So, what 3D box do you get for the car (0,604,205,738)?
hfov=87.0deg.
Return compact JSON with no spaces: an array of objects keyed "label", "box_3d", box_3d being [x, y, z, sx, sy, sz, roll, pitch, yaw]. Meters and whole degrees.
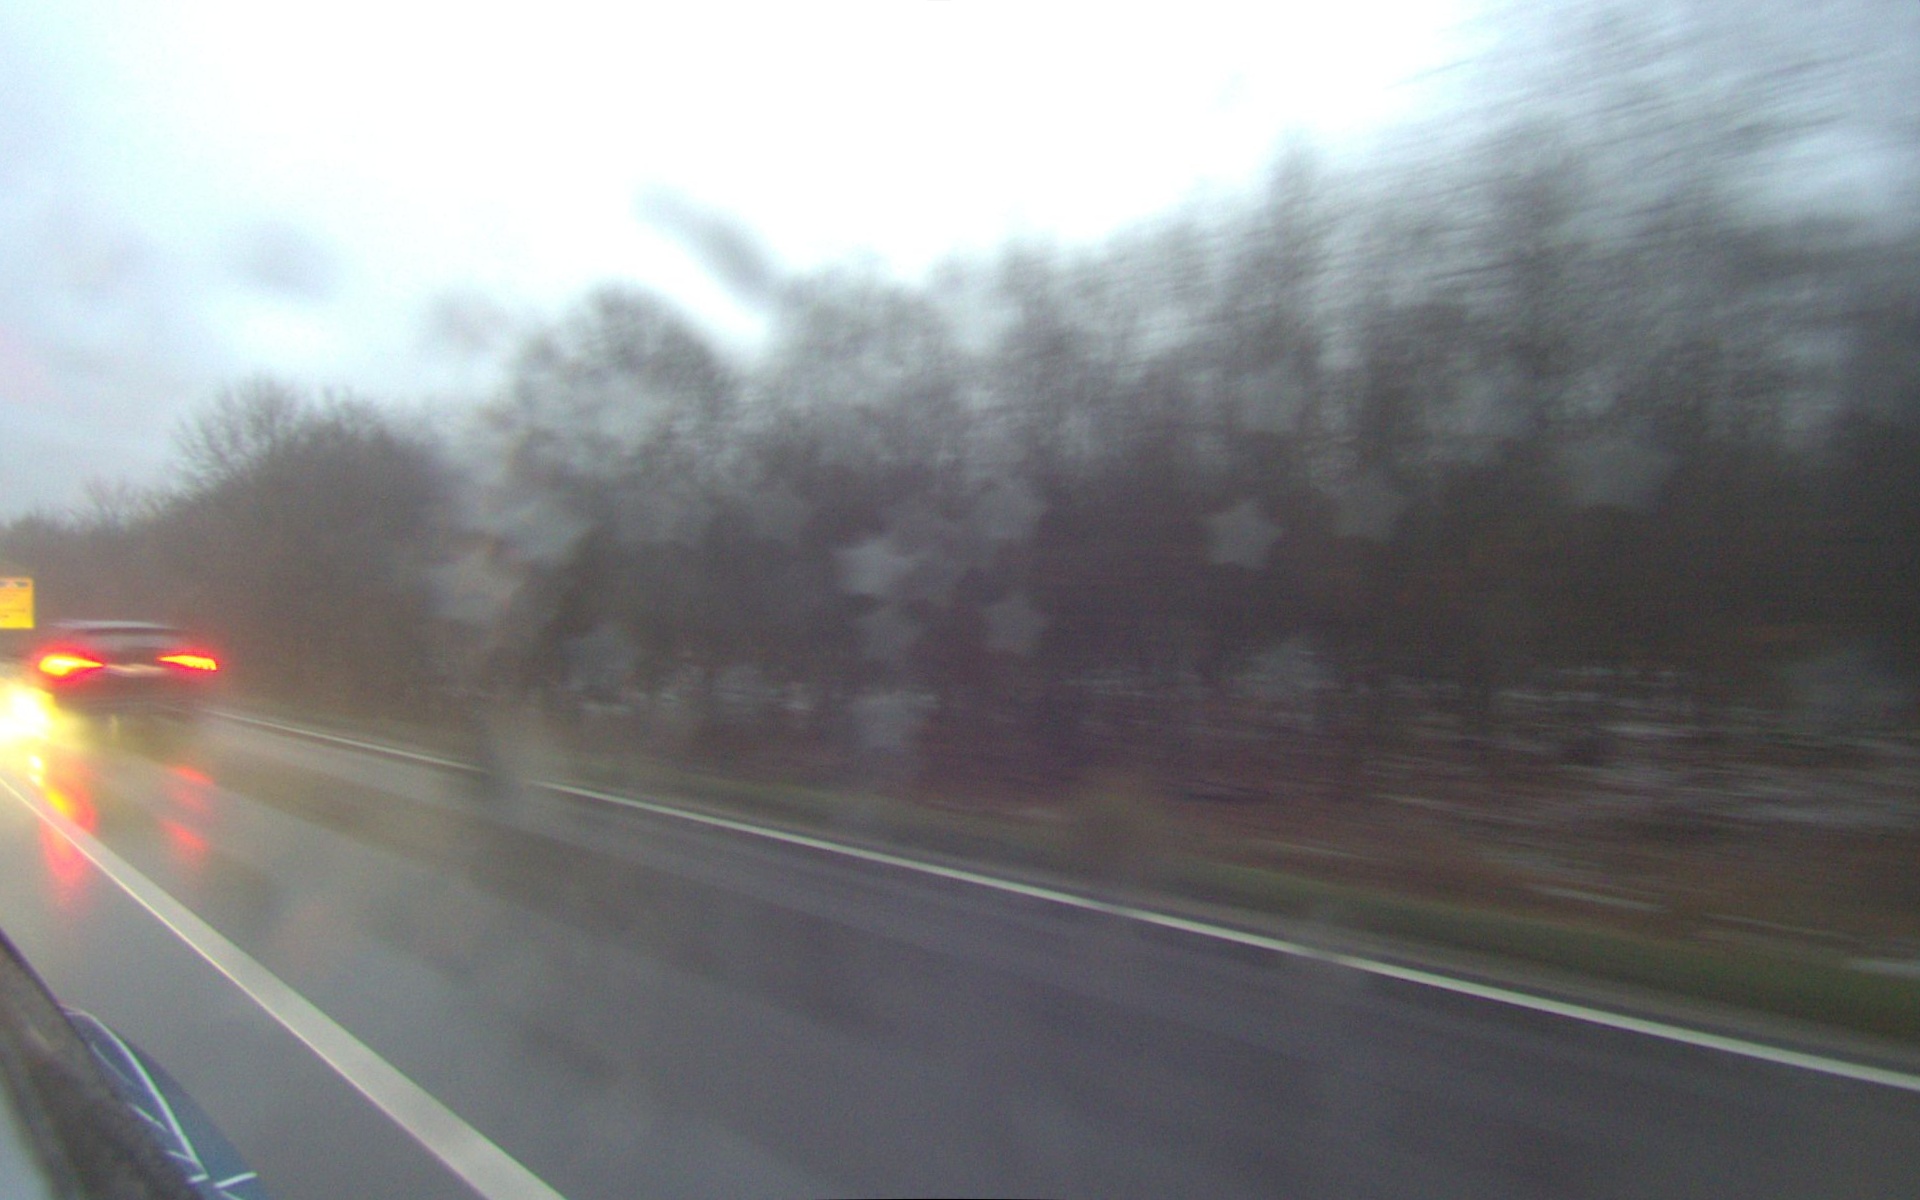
[{"label":"car","box_3d":[-12.097,0.930,14.129,4.127,1.572,1.676,-3,-1,41]}]
